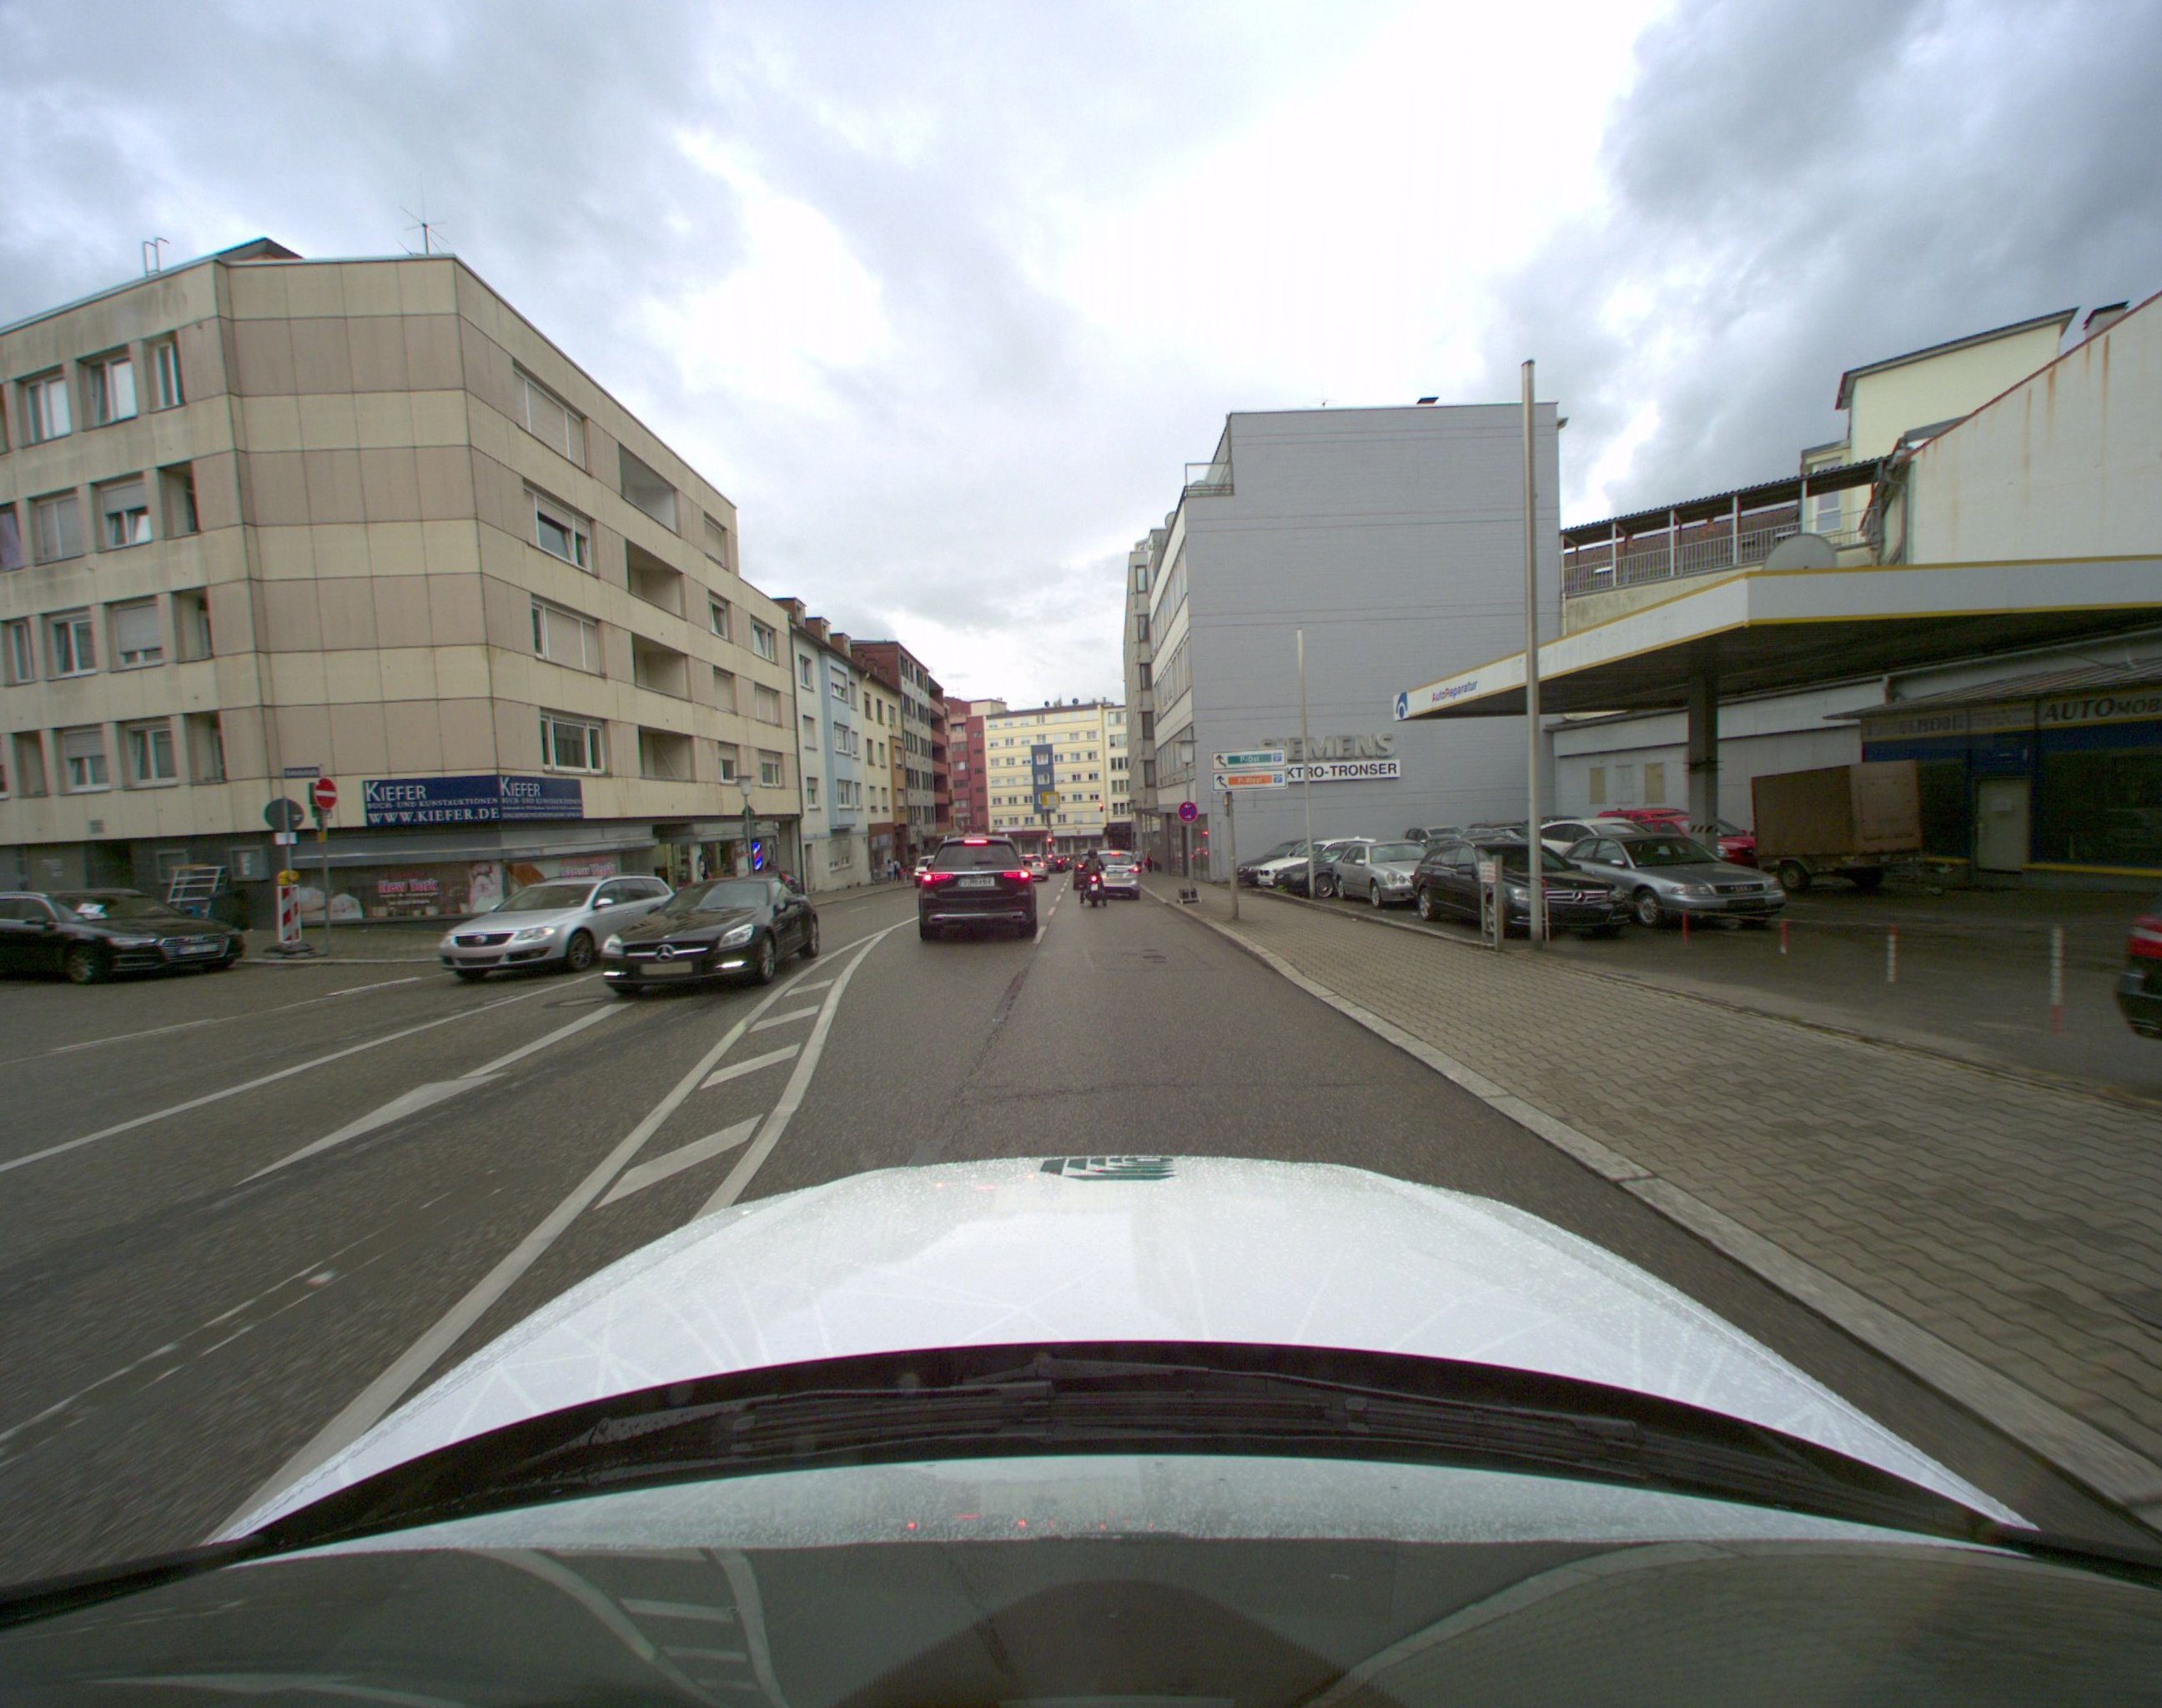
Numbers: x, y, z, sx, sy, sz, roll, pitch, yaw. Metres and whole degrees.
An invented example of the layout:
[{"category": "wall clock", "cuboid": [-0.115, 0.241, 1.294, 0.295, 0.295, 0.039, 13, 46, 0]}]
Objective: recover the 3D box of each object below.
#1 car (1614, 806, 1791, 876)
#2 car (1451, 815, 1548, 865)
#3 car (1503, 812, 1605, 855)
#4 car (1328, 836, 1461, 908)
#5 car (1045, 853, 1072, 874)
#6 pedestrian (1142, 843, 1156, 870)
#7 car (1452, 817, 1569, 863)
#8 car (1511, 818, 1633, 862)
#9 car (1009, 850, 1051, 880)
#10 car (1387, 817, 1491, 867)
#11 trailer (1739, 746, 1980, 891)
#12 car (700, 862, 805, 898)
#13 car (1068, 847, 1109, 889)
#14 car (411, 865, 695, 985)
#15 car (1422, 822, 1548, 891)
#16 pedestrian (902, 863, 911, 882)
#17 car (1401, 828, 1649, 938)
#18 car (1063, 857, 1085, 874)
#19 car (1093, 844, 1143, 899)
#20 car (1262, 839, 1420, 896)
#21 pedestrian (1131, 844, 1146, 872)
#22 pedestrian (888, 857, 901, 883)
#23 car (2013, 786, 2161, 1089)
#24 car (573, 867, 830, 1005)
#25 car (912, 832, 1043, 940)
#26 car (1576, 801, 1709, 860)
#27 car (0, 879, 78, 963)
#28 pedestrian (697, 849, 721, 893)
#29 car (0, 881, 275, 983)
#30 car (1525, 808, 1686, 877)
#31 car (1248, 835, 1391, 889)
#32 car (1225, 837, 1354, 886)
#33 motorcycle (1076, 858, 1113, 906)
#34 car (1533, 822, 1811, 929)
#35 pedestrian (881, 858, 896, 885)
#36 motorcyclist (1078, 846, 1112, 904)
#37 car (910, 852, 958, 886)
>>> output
[{"category": "car", "cuboid": [14.807, -0.247, 19.647, 1.446, 1.512, 3.517, -1, -1, -3]}, {"category": "car", "cuboid": [14.547, -0.437, 28.522, 1.447, 1.597, 3.386, -1, -1, -5]}, {"category": "car", "cuboid": [16.625, -0.698, 28.799, 1.449, 1.354, 3.348, -1, -1, -5]}, {"category": "car", "cuboid": [7.107, 0.355, 18.902, 1.560, 1.477, 4.070, -1, 0, 0]}, {"category": "car", "cuboid": [-1.737, 0.714, 63.992, 1.878, 1.502, 4.400, -1, 0, 1]}, {"category": "pedestrian", "cuboid": [4.143, 0.166, 49.583, 0.716, 1.611, 0.610, -2, 2, -3]}, {"category": "car", "cuboid": [12.544, -0.378, 23.995, 1.447, 1.202, 3.386, -1, -1, -5]}, {"category": "car", "cuboid": [14.744, -0.388, 24.655, 1.447, 1.202, 3.386, -1, -1, -5]}, {"category": "car", "cuboid": [-2.705, 0.544, 44.187, 1.878, 1.502, 4.400, -1, 0, 1]}, {"category": "car", "cuboid": [12.346, -0.367, 28.349, 1.641, 1.597, 3.860, -1, -1, -5]}, {"category": "trailer", "cuboid": [14.684, -0.614, 15.604, 1.423, 2.435, 3.204, -3, 0, -1]}, {"category": "car", "cuboid": [-14.798, 1.150, 36.813, 3.976, 1.499, 1.798, -2, -1, -2]}, {"category": "car", "cuboid": [0.279, 0.529, 33.343, 1.518, 1.548, 3.105, -2, 1, -2]}, {"category": "car", "cuboid": [-8.502, 1.018, 13.747, 1.740, 1.539, 4.640, -4, -1, -1]}, {"category": "car", "cuboid": [9.750, 0.093, 19.946, 1.521, 1.512, 3.394, -1, -1, 3]}, {"category": "pedestrian", "cuboid": [-11.583, 1.235, 53.952, 0.424, 1.162, 0.586, -2, 4, -3]}, {"category": "car", "cuboid": [6.980, 0.385, 13.435, 1.790, 1.477, 4.487, -1, 0, 2]}, {"category": "car", "cuboid": [-0.640, 1.069, 76.615, 1.878, 1.502, 4.400, -1, 0, 1]}, {"category": "car", "cuboid": [1.183, 0.529, 27.068, 1.412, 1.651, 3.105, -2, 1, -2]}, {"category": "car", "cuboid": [7.348, 0.361, 23.073, 3.998, 1.494, 1.722, -1, -1, -19]}, {"category": "pedestrian", "cuboid": [3.435, 0.245, 48.664, 0.767, 1.611, 0.703, -2, 2, -3]}, {"category": "pedestrian", "cuboid": [-12.266, 1.031, 53.617, 0.670, 1.652, 0.605, -2, 4, -3]}, {"category": "car", "cuboid": [7.615, 0.443, 3.672, 4.469, 1.512, 1.890, 1, 0, 4]}, {"category": "car", "cuboid": [-4.742, 0.916, 10.895, 1.712, 1.317, 4.137, -2, 1, -5]}, {"category": "car", "cuboid": [-1.790, 0.504, 15.613, 2.015, 1.739, 4.744, 0, 0, -2]}, {"category": "car", "cuboid": [16.760, -0.651, 24.505, 1.447, 1.597, 3.386, -1, -1, -5]}, {"category": "car", "cuboid": [-21.923, 1.287, 15.397, 4.305, 1.512, 1.904, -1, 0, 11]}, {"category": "pedestrian", "cuboid": [-15.308, 0.702, 33.520, 0.598, 1.729, 0.571, -2, 4, -3]}, {"category": "car", "cuboid": [-16.740, 1.288, 14.045, 4.305, 1.512, 1.904, -1, 0, 11]}, {"category": "car", "cuboid": [12.629, -0.216, 19.873, 1.548, 1.512, 3.517, -1, -1, -3]}, {"category": "car", "cuboid": [7.479, 0.248, 25.622, 3.998, 1.597, 1.788, -1, -1, -19]}, {"category": "car", "cuboid": [7.197, 0.246, 28.179, 3.998, 1.597, 1.788, -1, -1, -19]}, {"category": "motorcycle", "cuboid": [0.344, 0.753, 22.841, 0.865, 1.186, 2.560, -2, 1, -2]}, {"category": "car", "cuboid": [9.625, 0.289, 13.802, 1.788, 1.477, 4.492, -2, 0, 6]}, {"category": "pedestrian", "cuboid": [-12.455, 1.120, 52.760, 0.738, 1.652, 0.605, -2, 4, -3]}, {"category": "motorcyclist", "cuboid": [0.387, 0.586, 22.822, 0.865, 1.560, 0.763, -2, -1, -3]}, {"category": "car", "cuboid": [-8.496, 0.820, 47.403, 1.864, 1.753, 4.398, -4, 0, -1]}]
